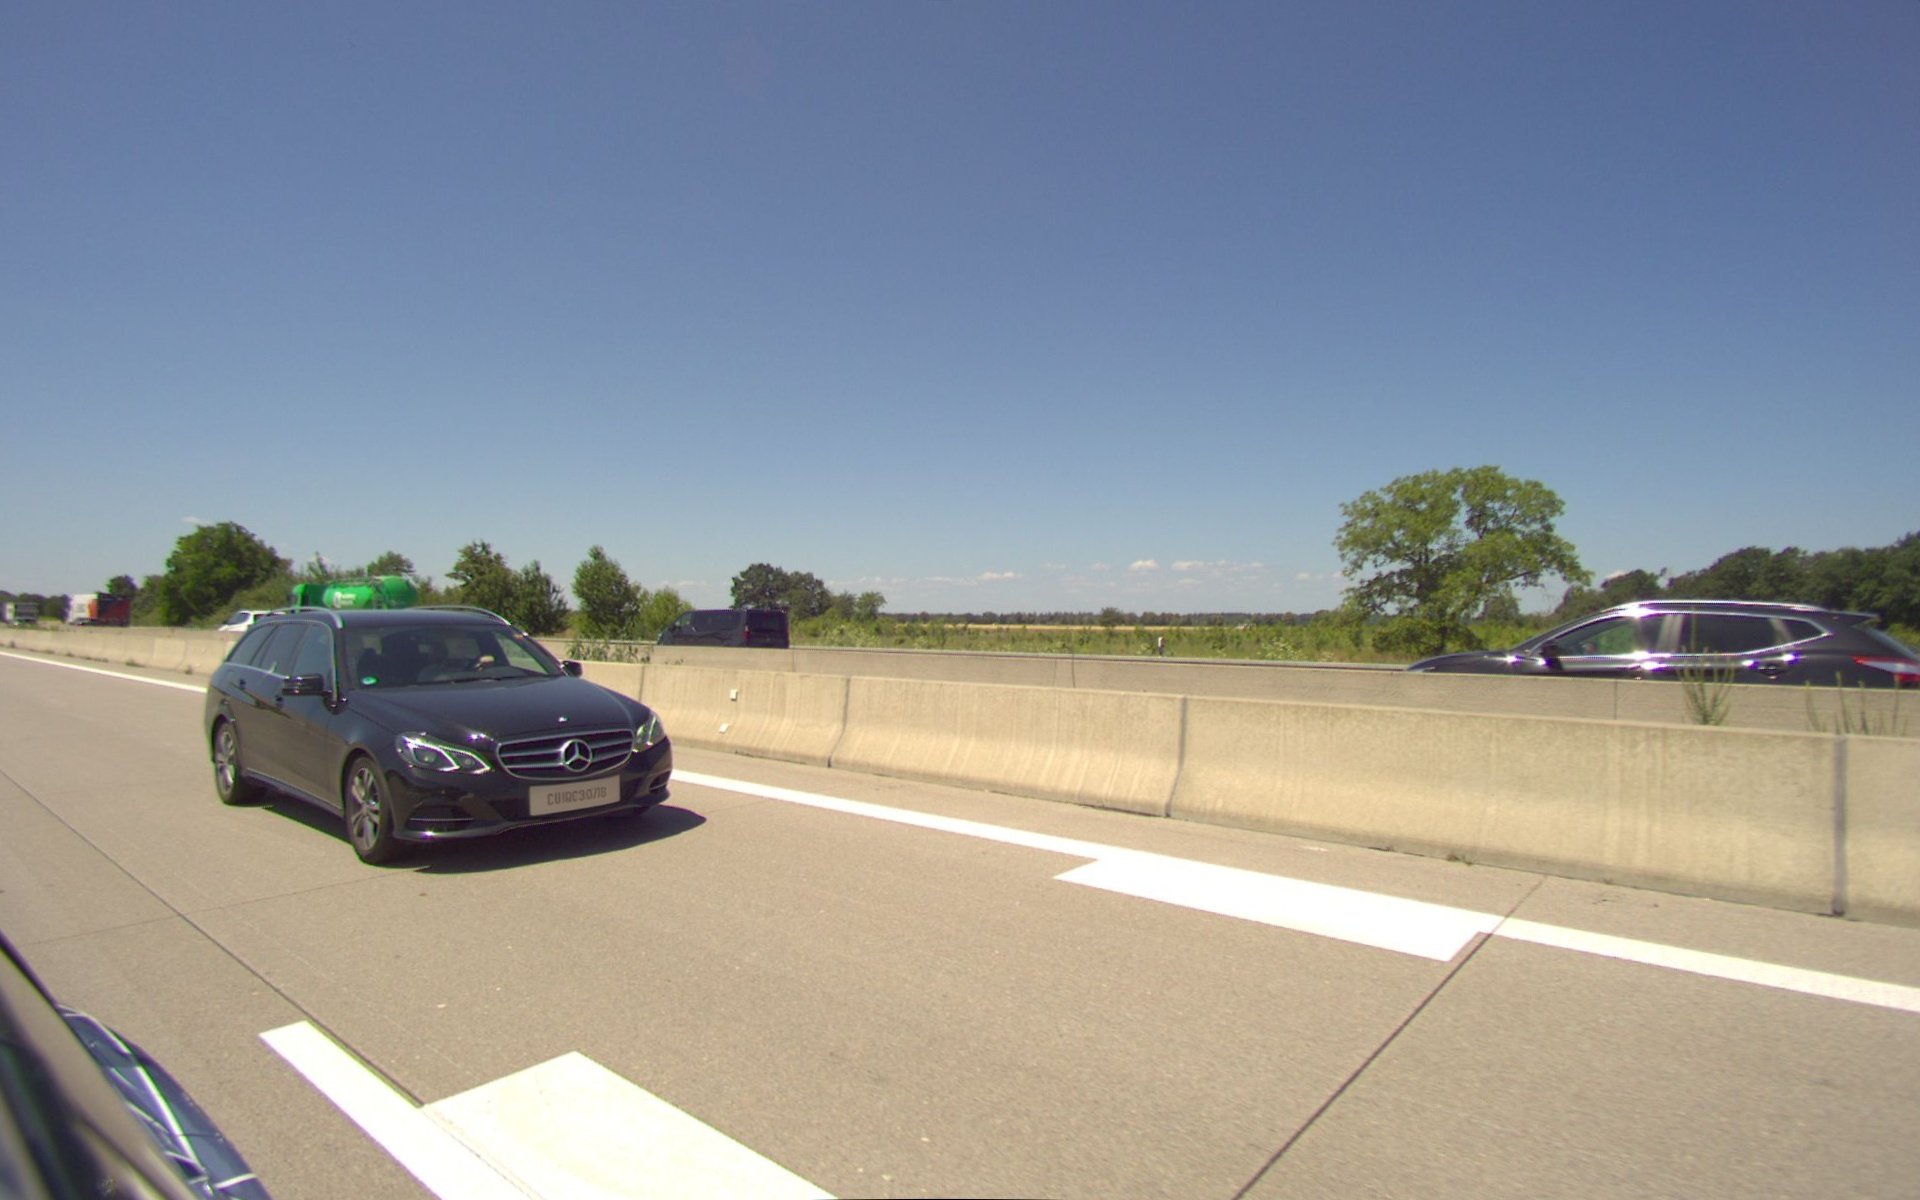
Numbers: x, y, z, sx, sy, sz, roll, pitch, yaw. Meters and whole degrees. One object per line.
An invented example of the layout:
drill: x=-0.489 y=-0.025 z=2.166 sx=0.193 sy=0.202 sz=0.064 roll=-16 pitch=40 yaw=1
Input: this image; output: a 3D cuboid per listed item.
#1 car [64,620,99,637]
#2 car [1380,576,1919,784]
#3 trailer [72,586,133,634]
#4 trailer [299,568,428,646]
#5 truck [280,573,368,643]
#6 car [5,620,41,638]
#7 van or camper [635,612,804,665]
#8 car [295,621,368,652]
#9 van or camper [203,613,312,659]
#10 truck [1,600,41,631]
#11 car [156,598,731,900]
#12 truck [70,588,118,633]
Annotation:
car: x=-75.052 y=2.441 z=86.466 sx=4.543 sy=1.411 sz=1.607 roll=-1 pitch=-2 yaw=41
car: x=6.580 y=0.648 z=9.448 sx=4.599 sy=1.567 sz=1.775 roll=-1 pitch=-2 yaw=41
trailer: x=-86.975 y=1.071 z=102.519 sx=13.227 sy=4.572 sz=2.773 roll=-1 pitch=-2 yaw=41
trailer: x=-32.789 y=0.440 z=55.357 sx=11.100 sy=3.907 sz=2.706 roll=-1 pitch=-2 yaw=41
truck: x=-37.413 y=0.498 z=59.439 sx=6.201 sy=3.912 sz=2.715 roll=-1 pitch=-2 yaw=41
car: x=-74.833 y=2.293 z=80.812 sx=3.805 sy=1.411 sz=1.698 roll=-1 pitch=-2 yaw=41
van or camper: x=-8.095 y=1.243 z=33.706 sx=6.087 sy=1.634 sz=2.341 roll=-1 pitch=-2 yaw=40
car: x=-28.381 y=1.612 z=45.661 sx=3.998 sy=1.343 sz=1.678 roll=-1 pitch=-2 yaw=41
van or camper: x=-28.005 y=1.398 z=40.272 sx=5.847 sy=1.705 sz=2.218 roll=-1 pitch=-2 yaw=41
truck: x=-129.084 y=2.126 z=139.087 sx=8.124 sy=4.206 sz=3.198 roll=-1 pitch=-2 yaw=41
car: x=-4.169 y=0.786 z=7.551 sx=5.600 sy=1.484 sz=1.871 roll=-1 pitch=-2 yaw=41
truck: x=-90.250 y=1.139 z=105.441 sx=6.658 sy=4.572 sz=2.773 roll=-1 pitch=-2 yaw=41
